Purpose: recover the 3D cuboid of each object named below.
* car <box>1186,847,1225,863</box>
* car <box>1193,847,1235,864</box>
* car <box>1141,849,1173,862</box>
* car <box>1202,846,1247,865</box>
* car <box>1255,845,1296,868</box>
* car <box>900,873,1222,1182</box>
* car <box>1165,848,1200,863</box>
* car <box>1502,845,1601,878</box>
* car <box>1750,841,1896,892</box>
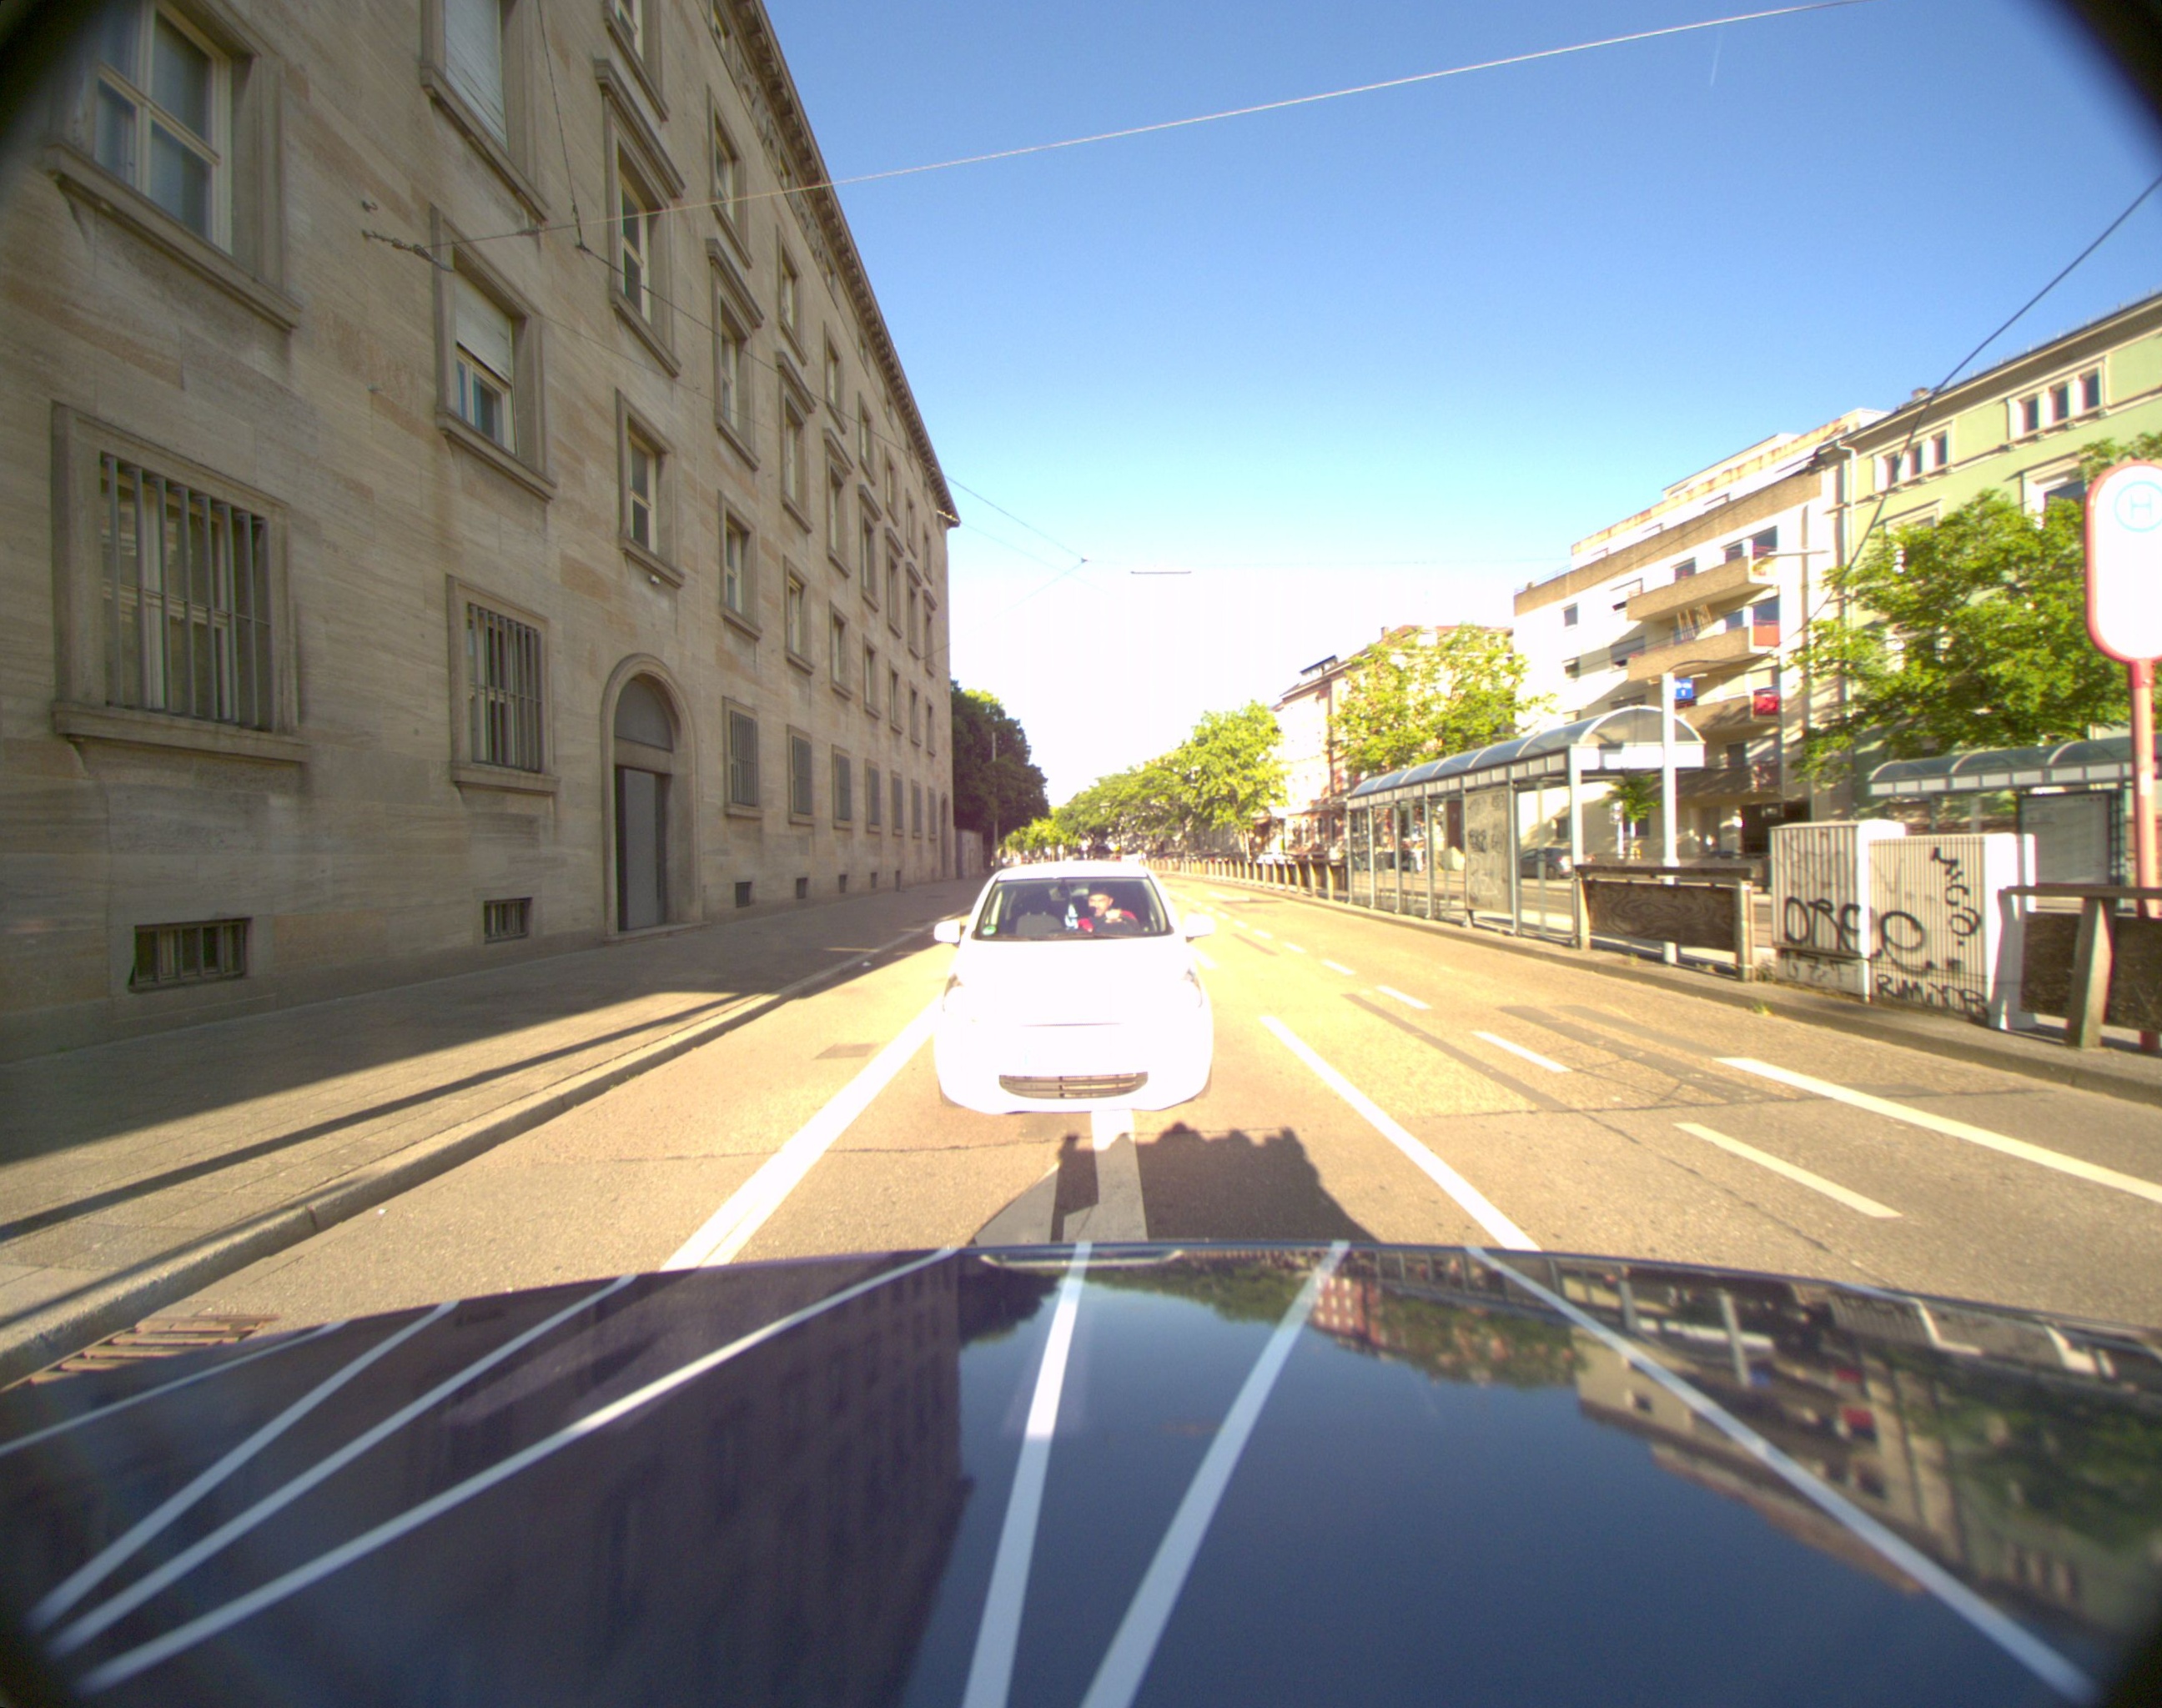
[{"bbox_3d":[13.162,0.102,80.517,3.996,1.674,2.000,-1,0,4],"label":"car"},{"bbox_3d":[13.355,0.130,76.714,3.996,1.674,2.000,-1,0,4],"label":"car"},{"bbox_3d":[9.568,0.150,95.703,3.864,1.583,2.001,-1,0,4],"label":"car"},{"bbox_3d":[13.640,0.145,72.580,3.996,1.674,2.000,-1,0,4],"label":"car"},{"bbox_3d":[16.308,0.178,63.664,1.994,1.713,4.007,0,2,34],"label":"car"},{"bbox_3d":[-0.076,0.930,5.699,1.612,1.450,3.667,-1,0,1],"label":"car"},{"bbox_3d":[11.440,0.163,86.077,3.864,1.583,2.001,-1,0,5],"label":"car"},{"bbox_3d":[20.849,0.326,33.821,1.615,1.387,3.516,-1,0,-19],"label":"car"},{"bbox_3d":[23.938,0.377,24.538,3.796,1.526,1.772,-1,0,-17],"label":"car"}]
